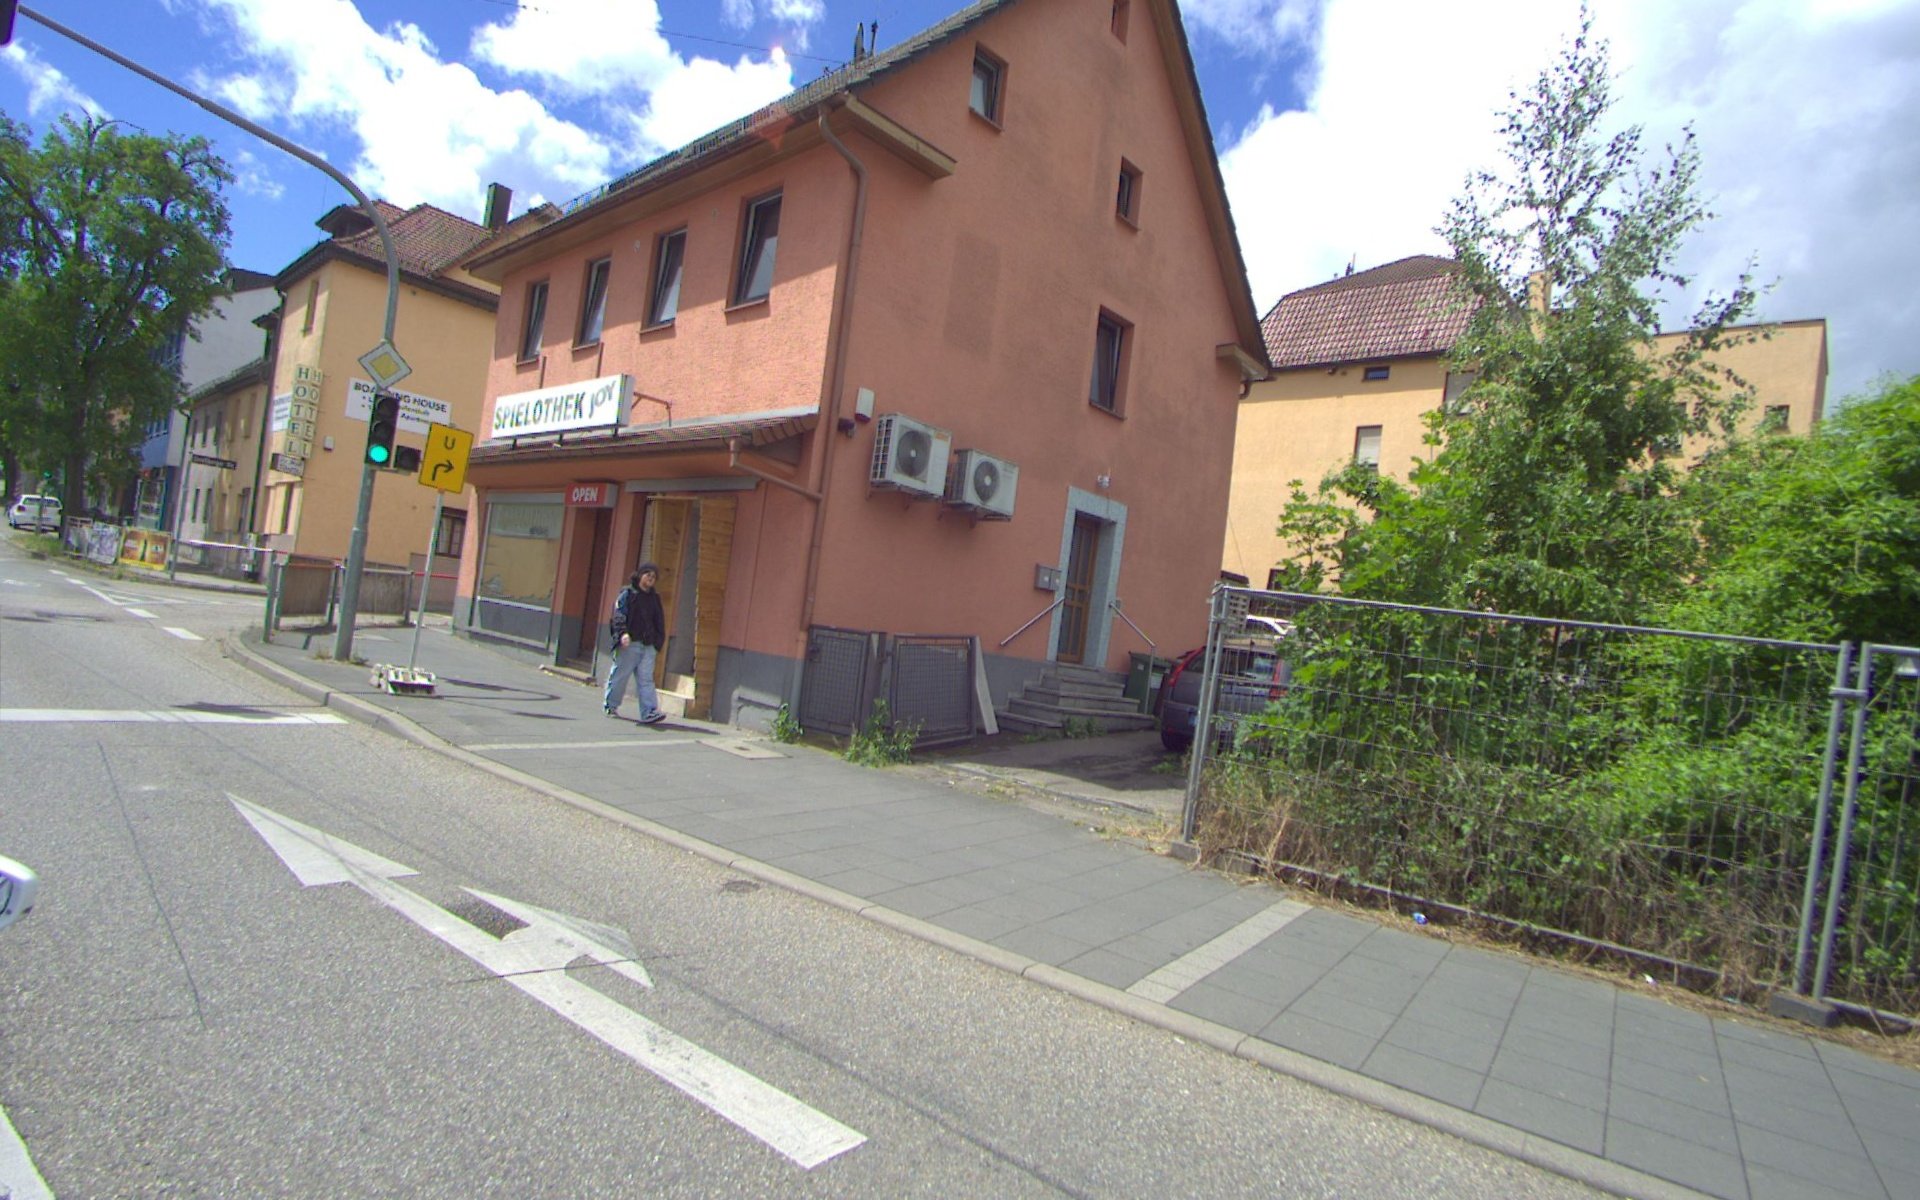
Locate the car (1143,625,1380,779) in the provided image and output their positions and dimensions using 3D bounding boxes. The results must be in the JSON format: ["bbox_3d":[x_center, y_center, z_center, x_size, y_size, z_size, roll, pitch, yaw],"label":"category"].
[{"bbox_3d":[3.793,1.196,12.485,1.627,1.516,2.796,7,2,43],"label":"car"}]

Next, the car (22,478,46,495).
[{"bbox_3d":[-105.670,-12.933,114.804,1.812,1.484,3.950,12,-4,-43],"label":"car"}]

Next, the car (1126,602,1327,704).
[{"bbox_3d":[6.209,1.217,23.651,3.947,1.804,1.990,7,-1,44],"label":"car"}]

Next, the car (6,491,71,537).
[{"bbox_3d":[-39.450,-3.674,43.034,1.782,1.615,3.950,7,-1,-45],"label":"car"}]

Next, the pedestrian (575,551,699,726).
[{"bbox_3d":[-3.323,0.398,10.363,0.767,1.663,0.762,9,1,43],"label":"pedestrian"}]
